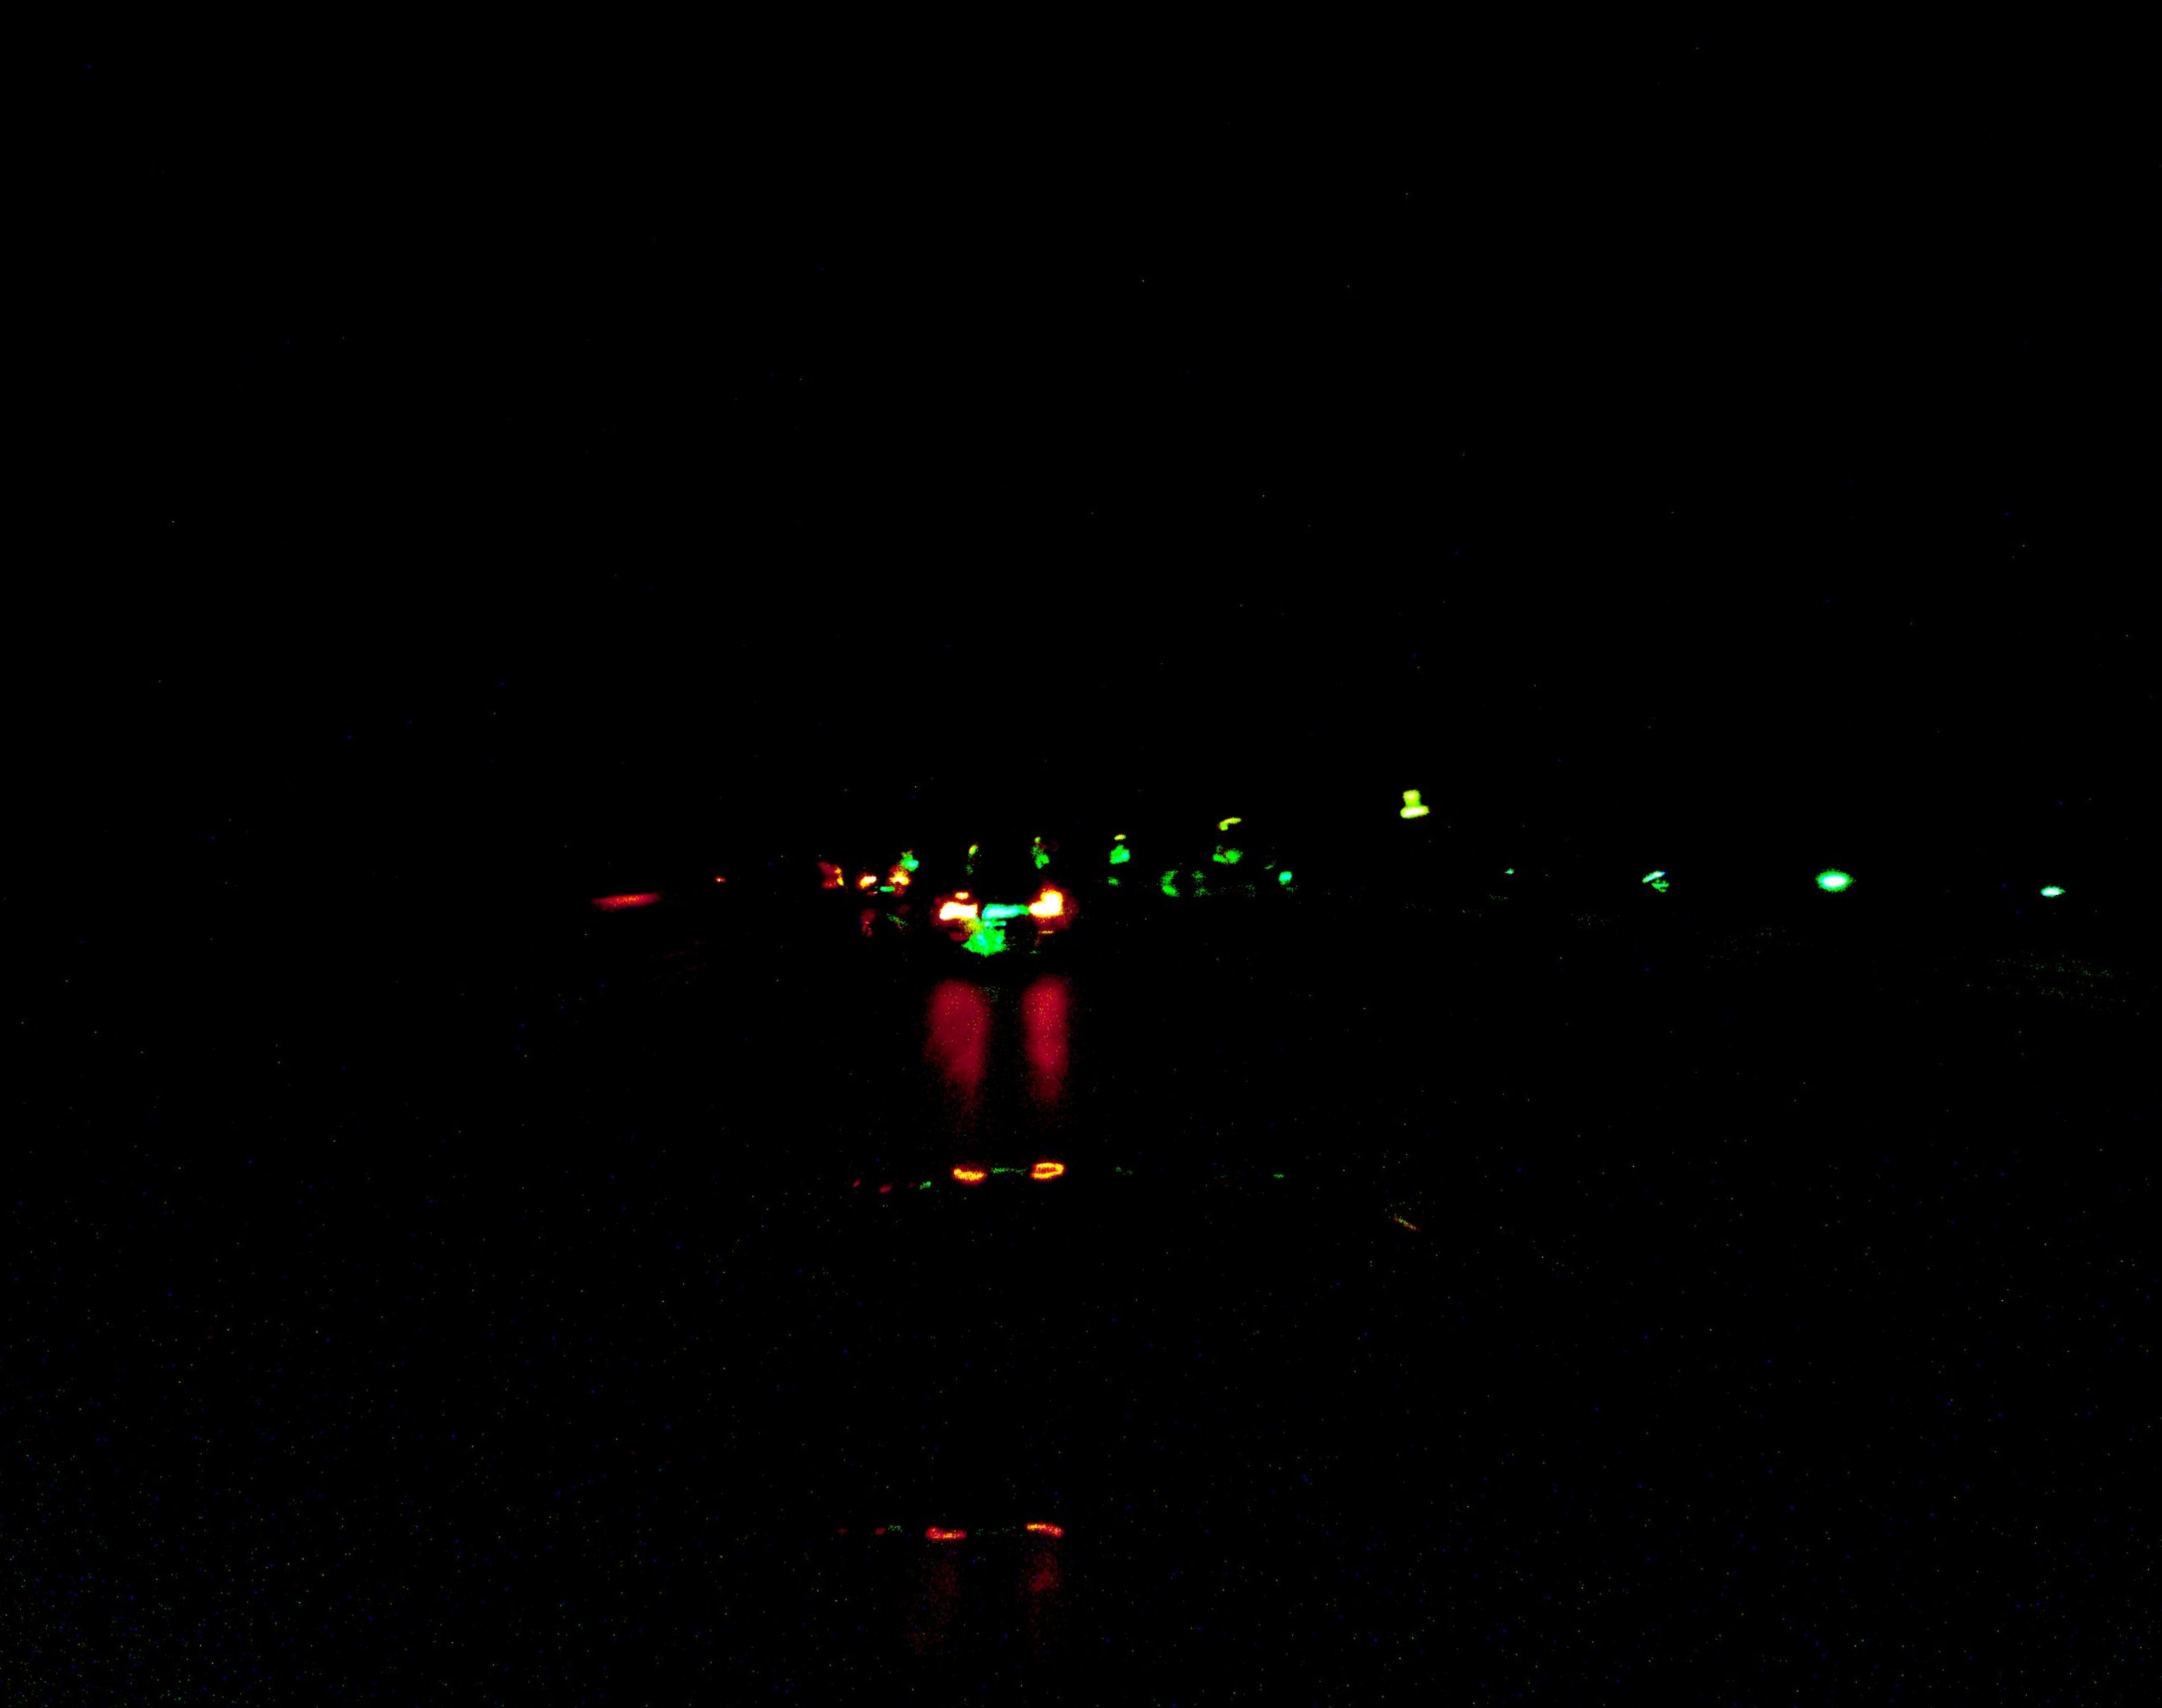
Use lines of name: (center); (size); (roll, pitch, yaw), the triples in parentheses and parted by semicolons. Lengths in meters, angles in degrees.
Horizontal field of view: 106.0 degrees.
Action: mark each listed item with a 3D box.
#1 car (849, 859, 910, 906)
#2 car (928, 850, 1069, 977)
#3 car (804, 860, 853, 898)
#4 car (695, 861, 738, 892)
car: (-8.169, 1.078, 32.711); (1.902, 1.720, 4.017); (0, 0, -21)
car: (-1.410, 0.813, 13.073); (1.860, 1.647, 4.056); (-2, 0, -9)
car: (-14.209, 1.364, 45.644); (1.906, 2.040, 4.009); (0, -1, -28)
car: (-25.285, 1.512, 56.394); (1.910, 1.998, 4.001); (0, 0, -36)
